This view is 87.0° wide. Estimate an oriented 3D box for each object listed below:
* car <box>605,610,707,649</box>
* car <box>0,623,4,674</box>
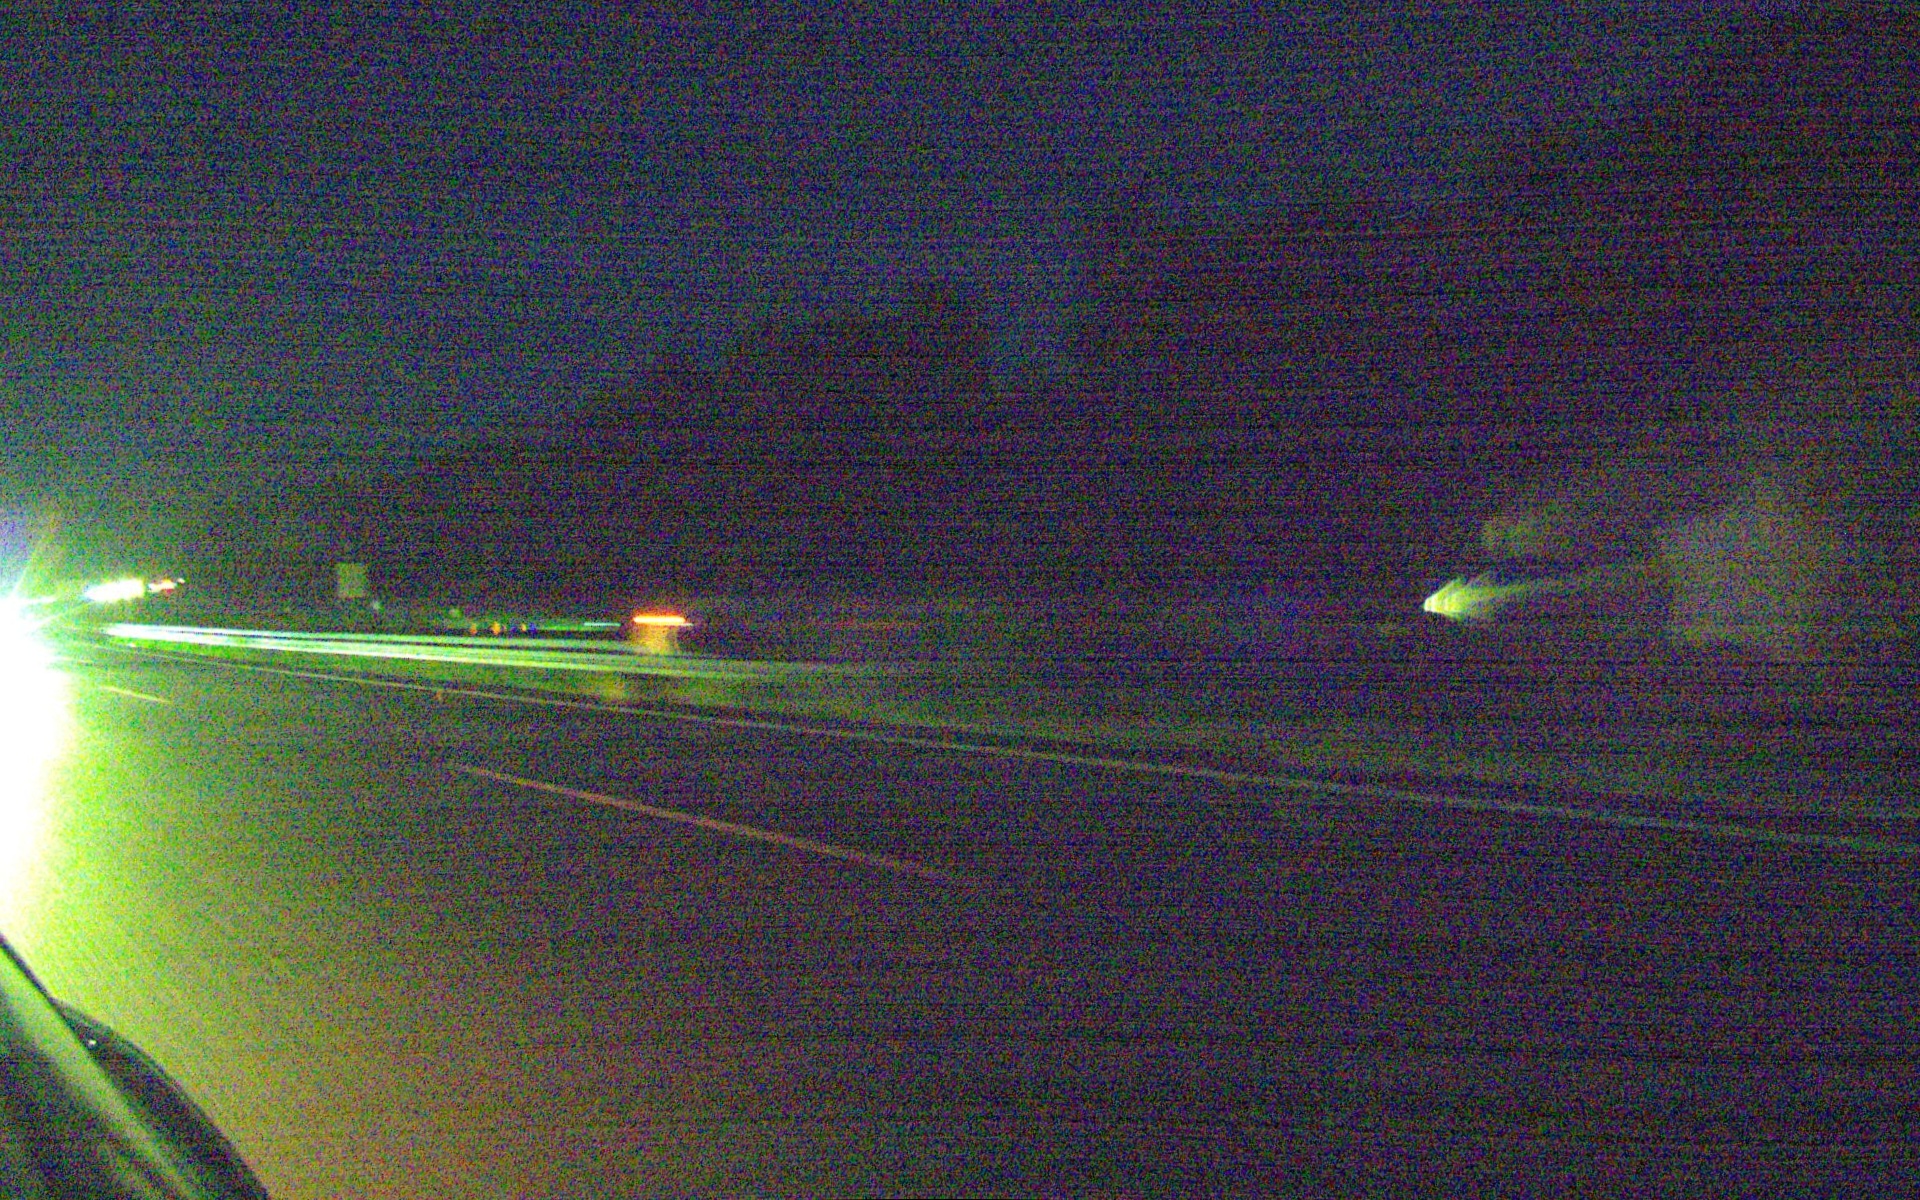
[{"bbox_3d":[-12.555,1.186,41.654,4.311,1.519,1.974,-1,-1,40],"label":"car"},{"bbox_3d":[-28.991,1.401,29.011,3.996,1.423,1.810,0,1,40],"label":"car"}]
